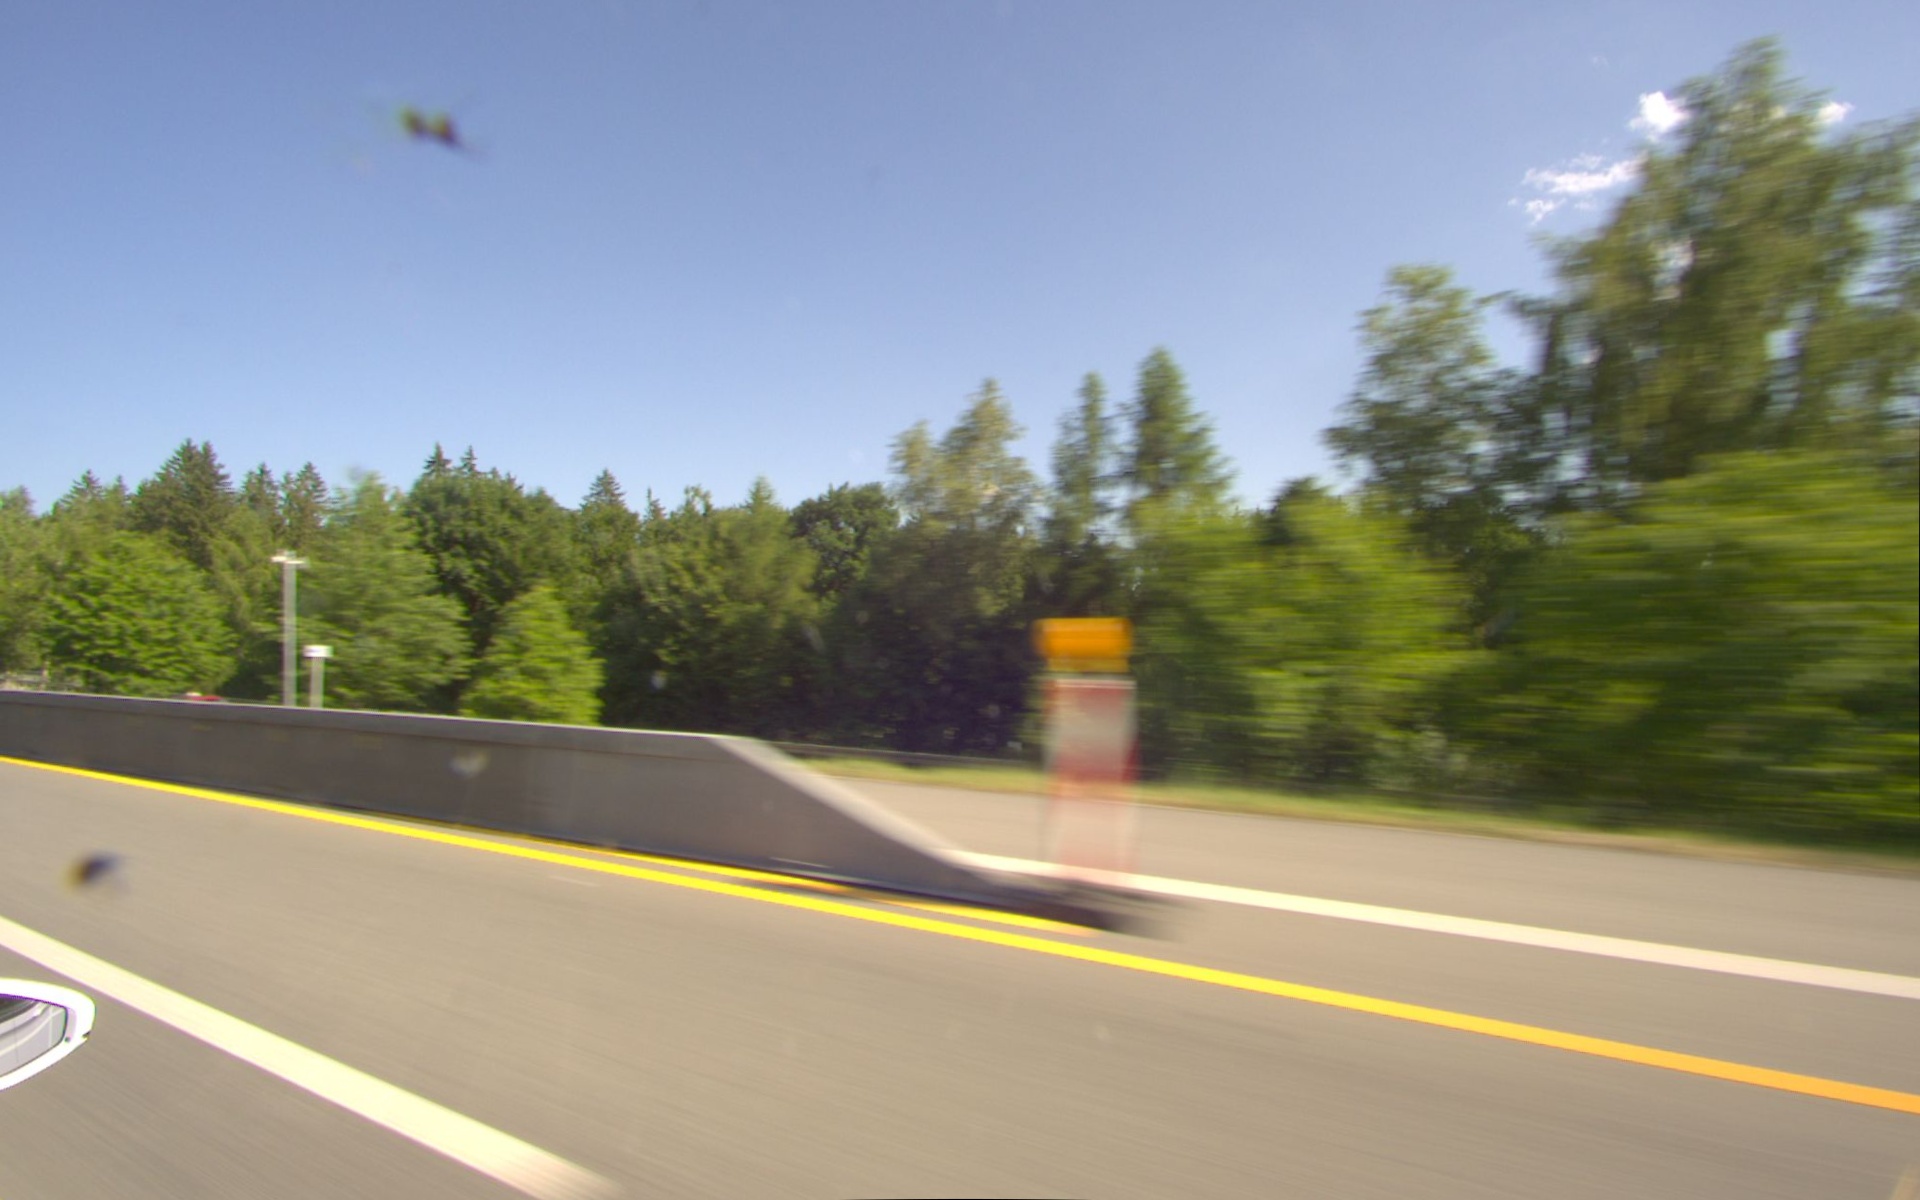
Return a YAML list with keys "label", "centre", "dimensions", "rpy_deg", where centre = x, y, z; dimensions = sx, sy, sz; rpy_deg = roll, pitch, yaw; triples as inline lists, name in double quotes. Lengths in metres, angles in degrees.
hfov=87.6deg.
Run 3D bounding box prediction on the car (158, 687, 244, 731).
- label: "car"
  centre: [-33.003, 4.686, 43.509]
  dimensions: [3.827, 1.674, 1.761]
  rpy_deg: [-1, -3, 33]
